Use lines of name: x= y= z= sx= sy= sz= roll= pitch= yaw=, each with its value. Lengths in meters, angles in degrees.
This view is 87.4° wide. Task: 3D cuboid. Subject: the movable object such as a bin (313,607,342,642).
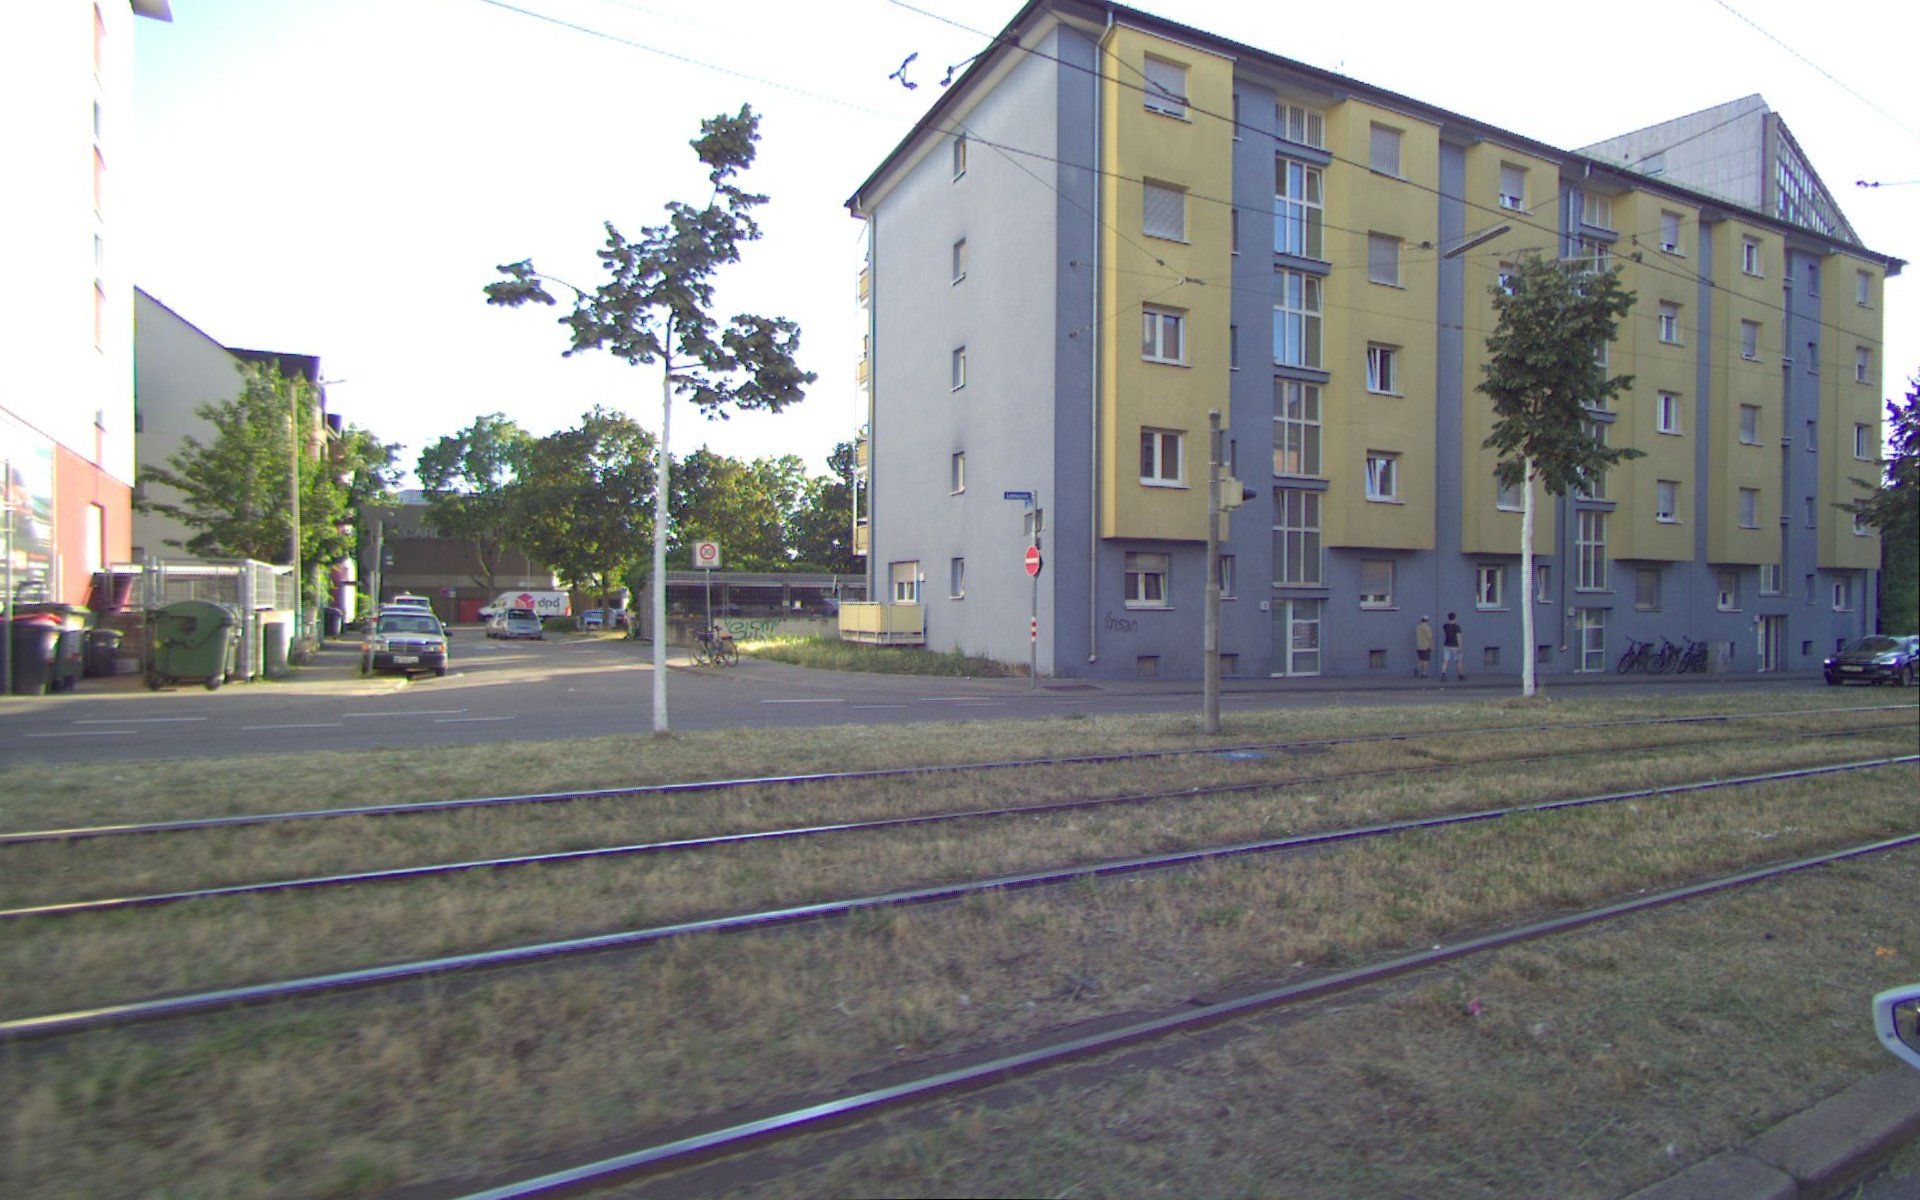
movable object such as a bin: x=-27.607 y=1.055 z=43.861 sx=0.935 sy=1.474 sz=1.377 roll=1 pitch=0 yaw=-28

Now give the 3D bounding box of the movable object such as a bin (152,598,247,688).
movable object such as a bin: x=-12.625 y=0.691 z=16.724 sx=1.126 sy=1.434 sz=1.210 roll=1 pitch=0 yaw=-32

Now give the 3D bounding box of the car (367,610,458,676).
car: x=-12.569 y=0.923 z=22.986 sx=1.682 sy=1.311 sz=3.843 roll=1 pitch=0 yaw=-30

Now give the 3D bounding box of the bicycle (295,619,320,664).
bicycle: x=-16.046 y=0.999 z=24.675 sx=0.453 sy=1.074 sz=1.924 roll=1 pitch=-1 yaw=-34

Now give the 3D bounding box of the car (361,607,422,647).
car: x=-19.950 y=0.938 z=35.362 sx=1.680 sy=1.322 sz=3.538 roll=1 pitch=-1 yaw=-27

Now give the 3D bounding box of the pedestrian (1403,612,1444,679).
pedestrian: x=12.504 y=1.221 z=27.105 sx=0.697 sy=1.718 sz=0.614 roll=0 pitch=4 yaw=-28

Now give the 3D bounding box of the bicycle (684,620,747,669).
bicycle: x=-5.960 y=1.059 z=24.436 sx=0.599 sy=1.090 sz=1.935 roll=-2 pitch=2 yaw=-44

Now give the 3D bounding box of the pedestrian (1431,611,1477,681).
pedestrian: x=13.052 y=1.201 z=26.547 sx=0.874 sy=1.797 sz=0.590 roll=0 pitch=4 yaw=-28

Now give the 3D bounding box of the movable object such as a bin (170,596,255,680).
movable object such as a bin: x=-13.337 y=0.662 z=17.969 sx=1.096 sy=1.434 sz=1.210 roll=1 pitch=0 yaw=-32

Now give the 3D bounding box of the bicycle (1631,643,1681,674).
bicycle: x=22.486 y=1.882 z=32.449 sx=1.887 sy=0.937 sz=0.425 roll=1 pitch=3 yaw=-27

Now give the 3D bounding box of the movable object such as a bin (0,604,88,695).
movable object such as a bin: x=-13.153 y=0.695 z=14.430 sx=0.797 sy=1.242 sz=0.861 roll=1 pitch=0 yaw=-32

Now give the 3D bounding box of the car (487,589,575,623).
car: x=-34.058 y=0.527 z=79.957 sx=6.113 sy=2.586 sz=2.310 roll=1 pitch=0 yaw=-14

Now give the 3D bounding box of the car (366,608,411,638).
car: x=-27.324 y=1.080 z=48.146 sx=1.680 sy=1.378 sz=3.817 roll=1 pitch=-1 yaw=-27

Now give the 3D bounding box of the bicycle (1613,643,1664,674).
bicycle: x=21.437 y=1.831 z=31.738 sx=1.887 sy=0.937 sz=0.425 roll=1 pitch=3 yaw=-27

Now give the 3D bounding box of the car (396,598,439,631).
car: x=-34.391 y=0.880 z=63.806 sx=1.932 sy=2.004 sz=5.676 roll=1 pitch=-1 yaw=-24

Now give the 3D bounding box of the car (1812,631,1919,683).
car: x=27.912 y=1.711 z=30.315 sx=4.737 sy=1.488 sz=1.786 roll=2 pitch=-3 yaw=-29

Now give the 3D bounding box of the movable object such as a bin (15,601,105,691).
movable object such as a bin: x=-13.709 y=0.681 z=15.333 sx=0.797 sy=1.303 sz=1.152 roll=1 pitch=0 yaw=-32

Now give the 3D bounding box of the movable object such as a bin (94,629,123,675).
movable object such as a bin: x=-16.787 y=1.017 z=19.806 sx=0.362 sy=0.873 sz=0.423 roll=1 pitch=0 yaw=-34

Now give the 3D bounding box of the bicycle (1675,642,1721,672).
bicycle: x=24.643 y=1.886 z=33.545 sx=1.887 sy=0.972 sz=0.425 roll=1 pitch=-1 yaw=-27

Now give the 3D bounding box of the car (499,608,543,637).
car: x=-21.487 y=1.079 z=49.096 sx=1.624 sy=1.349 sz=3.970 roll=1 pitch=-1 yaw=-28

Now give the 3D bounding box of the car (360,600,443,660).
car: x=-15.499 y=0.793 z=27.977 sx=1.876 sy=1.528 sz=3.970 roll=1 pitch=-1 yaw=-28
